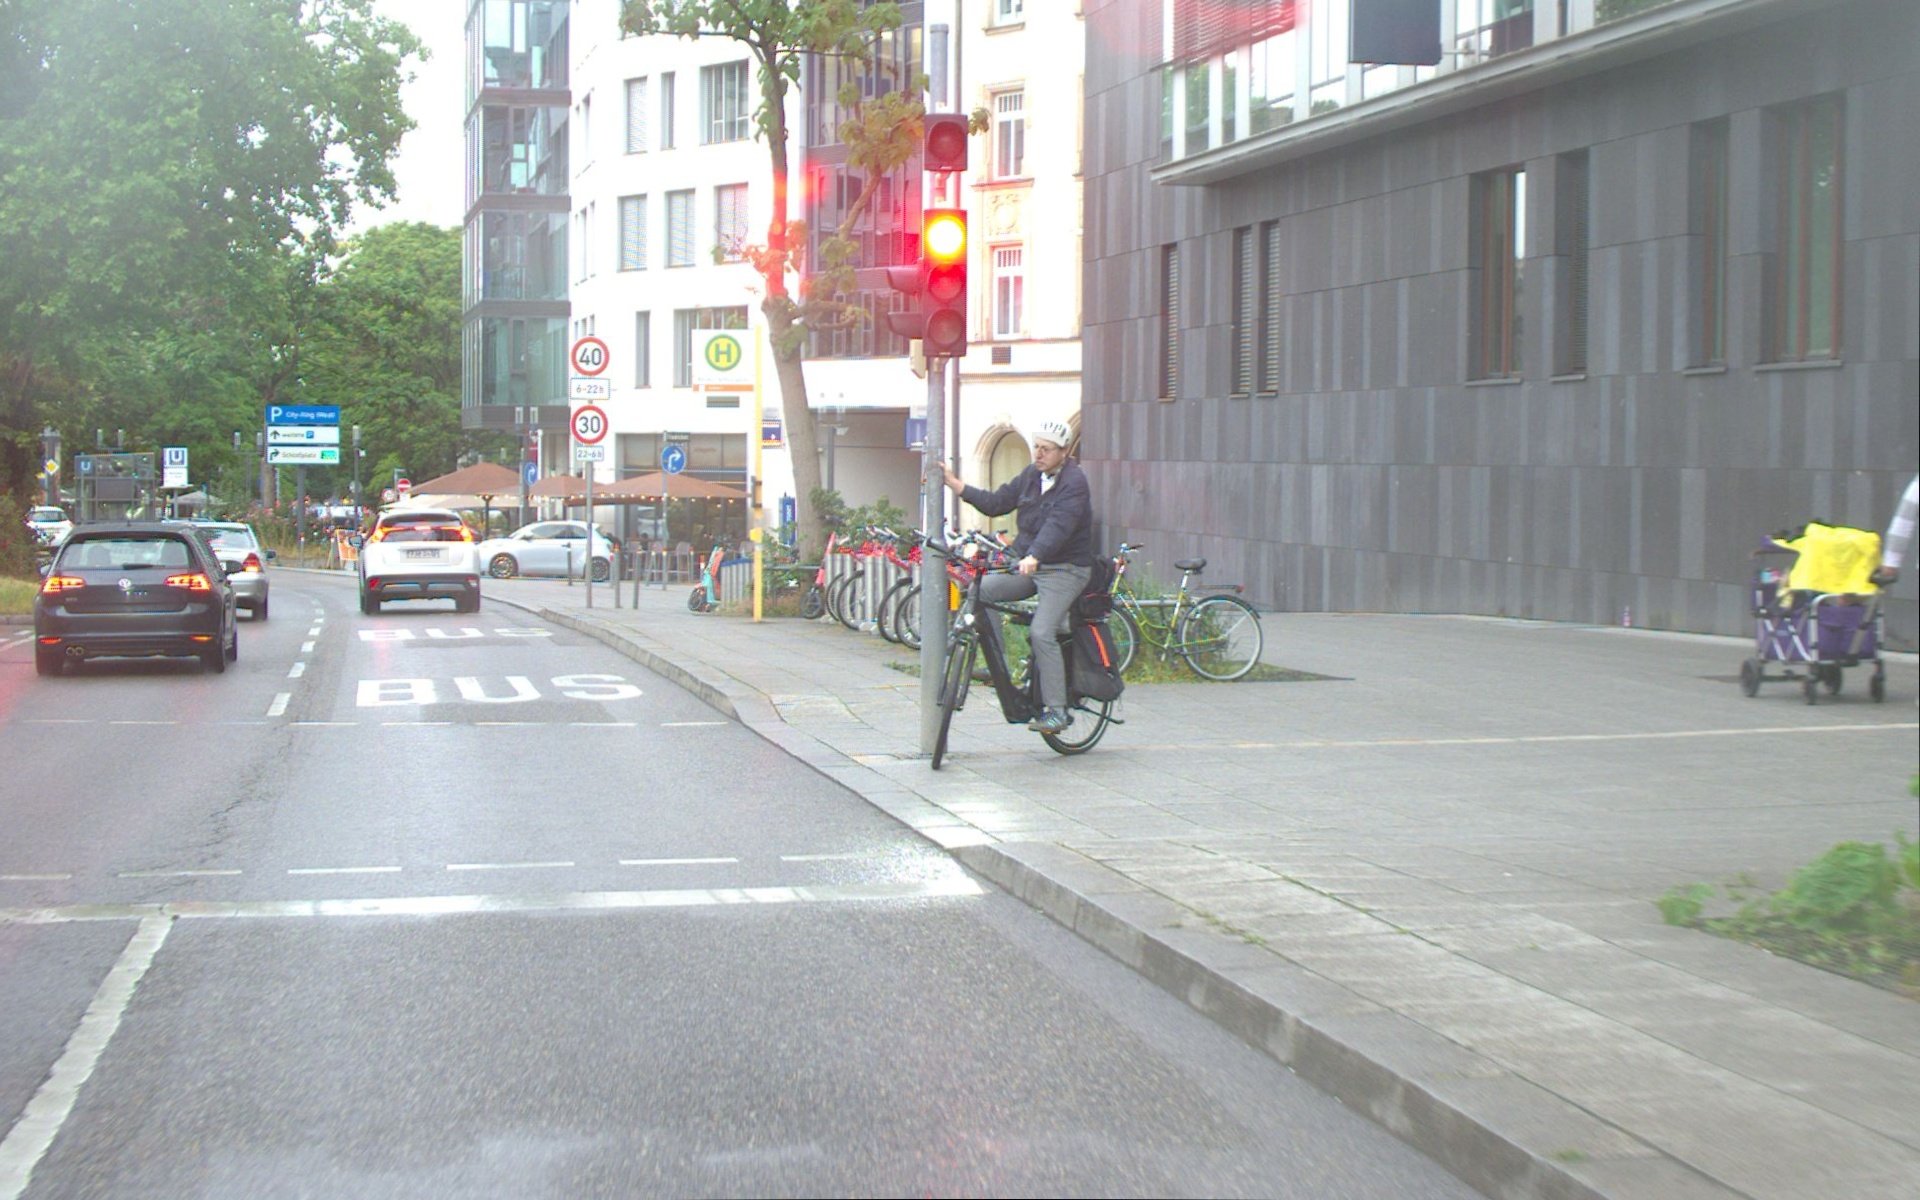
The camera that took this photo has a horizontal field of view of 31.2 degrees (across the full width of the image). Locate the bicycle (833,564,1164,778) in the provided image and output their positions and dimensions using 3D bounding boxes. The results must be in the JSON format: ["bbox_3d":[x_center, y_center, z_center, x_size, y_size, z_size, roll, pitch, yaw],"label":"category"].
[{"bbox_3d":[0.251,0.373,19.782,0.762,1.141,2.128,0,1,38],"label":"bicycle"}]

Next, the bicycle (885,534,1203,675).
[{"bbox_3d":[0.699,0.039,28.811,2.535,1.083,0.678,2,1,-11],"label":"bicycle"}]

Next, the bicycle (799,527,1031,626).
[{"bbox_3d":[-0.507,-0.274,38.808,2.535,1.083,0.678,-1,1,-11],"label":"bicycle"}]

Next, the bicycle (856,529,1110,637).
[{"bbox_3d":[0.235,-0.181,35.640,2.535,1.083,0.678,-1,1,-11],"label":"bicycle"}]

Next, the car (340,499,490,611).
[{"bbox_3d":[-8.716,-0.748,54.709,2.178,1.695,4.001,0,2,-12],"label":"car"}]

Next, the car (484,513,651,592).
[{"bbox_3d":[-9.829,-1.186,85.885,3.986,1.641,2.001,4,1,-8],"label":"car"}]

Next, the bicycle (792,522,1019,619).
[{"bbox_3d":[-0.625,-0.342,39.520,2.535,1.083,0.627,-1,1,-11],"label":"bicycle"}]

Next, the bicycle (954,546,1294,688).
[{"bbox_3d":[1.262,0.121,26.577,2.535,1.053,0.678,0,1,-11],"label":"bicycle"}]

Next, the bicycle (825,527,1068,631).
[{"bbox_3d":[-0.150,-0.236,37.200,2.535,1.083,0.678,-1,1,-11],"label":"bicycle"}]

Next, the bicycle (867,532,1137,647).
[{"bbox_3d":[0.402,-0.111,33.471,2.535,1.083,0.678,-1,1,-11],"label":"bicycle"}]

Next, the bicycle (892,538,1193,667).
[{"bbox_3d":[0.718,0.011,30.045,2.535,1.083,0.678,-1,1,-11],"label":"bicycle"}]

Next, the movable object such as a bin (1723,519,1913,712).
[{"bbox_3d":[5.917,0.086,23.767,0.731,1.259,1.445,-2,2,-9],"label":"movable object such as a bin"}]

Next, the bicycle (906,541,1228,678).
[{"bbox_3d":[0.867,0.065,28.021,2.535,1.083,0.678,0,1,-11],"label":"bicycle"}]

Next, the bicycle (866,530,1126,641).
[{"bbox_3d":[0.358,-0.156,34.669,2.535,1.083,0.678,-1,1,-11],"label":"bicycle"}]

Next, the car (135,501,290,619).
[{"bbox_3d":[-11.010,-0.617,50.466,1.944,1.641,4.246,0,2,-16],"label":"car"}]

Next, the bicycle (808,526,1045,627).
[{"bbox_3d":[-0.375,-0.268,38.070,2.535,1.083,0.678,-1,1,-11],"label":"bicycle"}]

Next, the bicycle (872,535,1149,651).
[{"bbox_3d":[0.477,-0.074,32.565,2.535,1.056,0.678,-1,1,-11],"label":"bicycle"}]

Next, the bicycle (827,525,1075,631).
[{"bbox_3d":[-0.099,-0.241,36.448,2.535,1.083,0.678,-1,1,-11],"label":"bicycle"}]

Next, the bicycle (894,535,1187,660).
[{"bbox_3d":[0.719,-0.031,30.904,2.535,1.083,0.678,-1,1,-11],"label":"bicycle"}]

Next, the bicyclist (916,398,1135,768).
[{"bbox_3d":[0.387,-0.109,19.949,0.762,2.076,1.083,0,1,38],"label":"bicyclist"}]

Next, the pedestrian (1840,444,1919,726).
[{"bbox_3d":[6.412,-0.126,22.404,0.899,1.785,1.047,-2,2,-11],"label":"pedestrian"}]

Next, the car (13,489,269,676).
[{"bbox_3d":[-7.971,-0.219,33.841,2.161,1.700,4.555,0,2,-10],"label":"car"}]

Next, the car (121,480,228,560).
[{"bbox_3d":[-16.740,-1.709,73.194,1.944,1.641,4.001,0,2,-17],"label":"car"}]

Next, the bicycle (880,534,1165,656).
[{"bbox_3d":[0.570,-0.055,31.704,2.535,1.083,0.678,-1,1,-11],"label":"bicycle"}]
